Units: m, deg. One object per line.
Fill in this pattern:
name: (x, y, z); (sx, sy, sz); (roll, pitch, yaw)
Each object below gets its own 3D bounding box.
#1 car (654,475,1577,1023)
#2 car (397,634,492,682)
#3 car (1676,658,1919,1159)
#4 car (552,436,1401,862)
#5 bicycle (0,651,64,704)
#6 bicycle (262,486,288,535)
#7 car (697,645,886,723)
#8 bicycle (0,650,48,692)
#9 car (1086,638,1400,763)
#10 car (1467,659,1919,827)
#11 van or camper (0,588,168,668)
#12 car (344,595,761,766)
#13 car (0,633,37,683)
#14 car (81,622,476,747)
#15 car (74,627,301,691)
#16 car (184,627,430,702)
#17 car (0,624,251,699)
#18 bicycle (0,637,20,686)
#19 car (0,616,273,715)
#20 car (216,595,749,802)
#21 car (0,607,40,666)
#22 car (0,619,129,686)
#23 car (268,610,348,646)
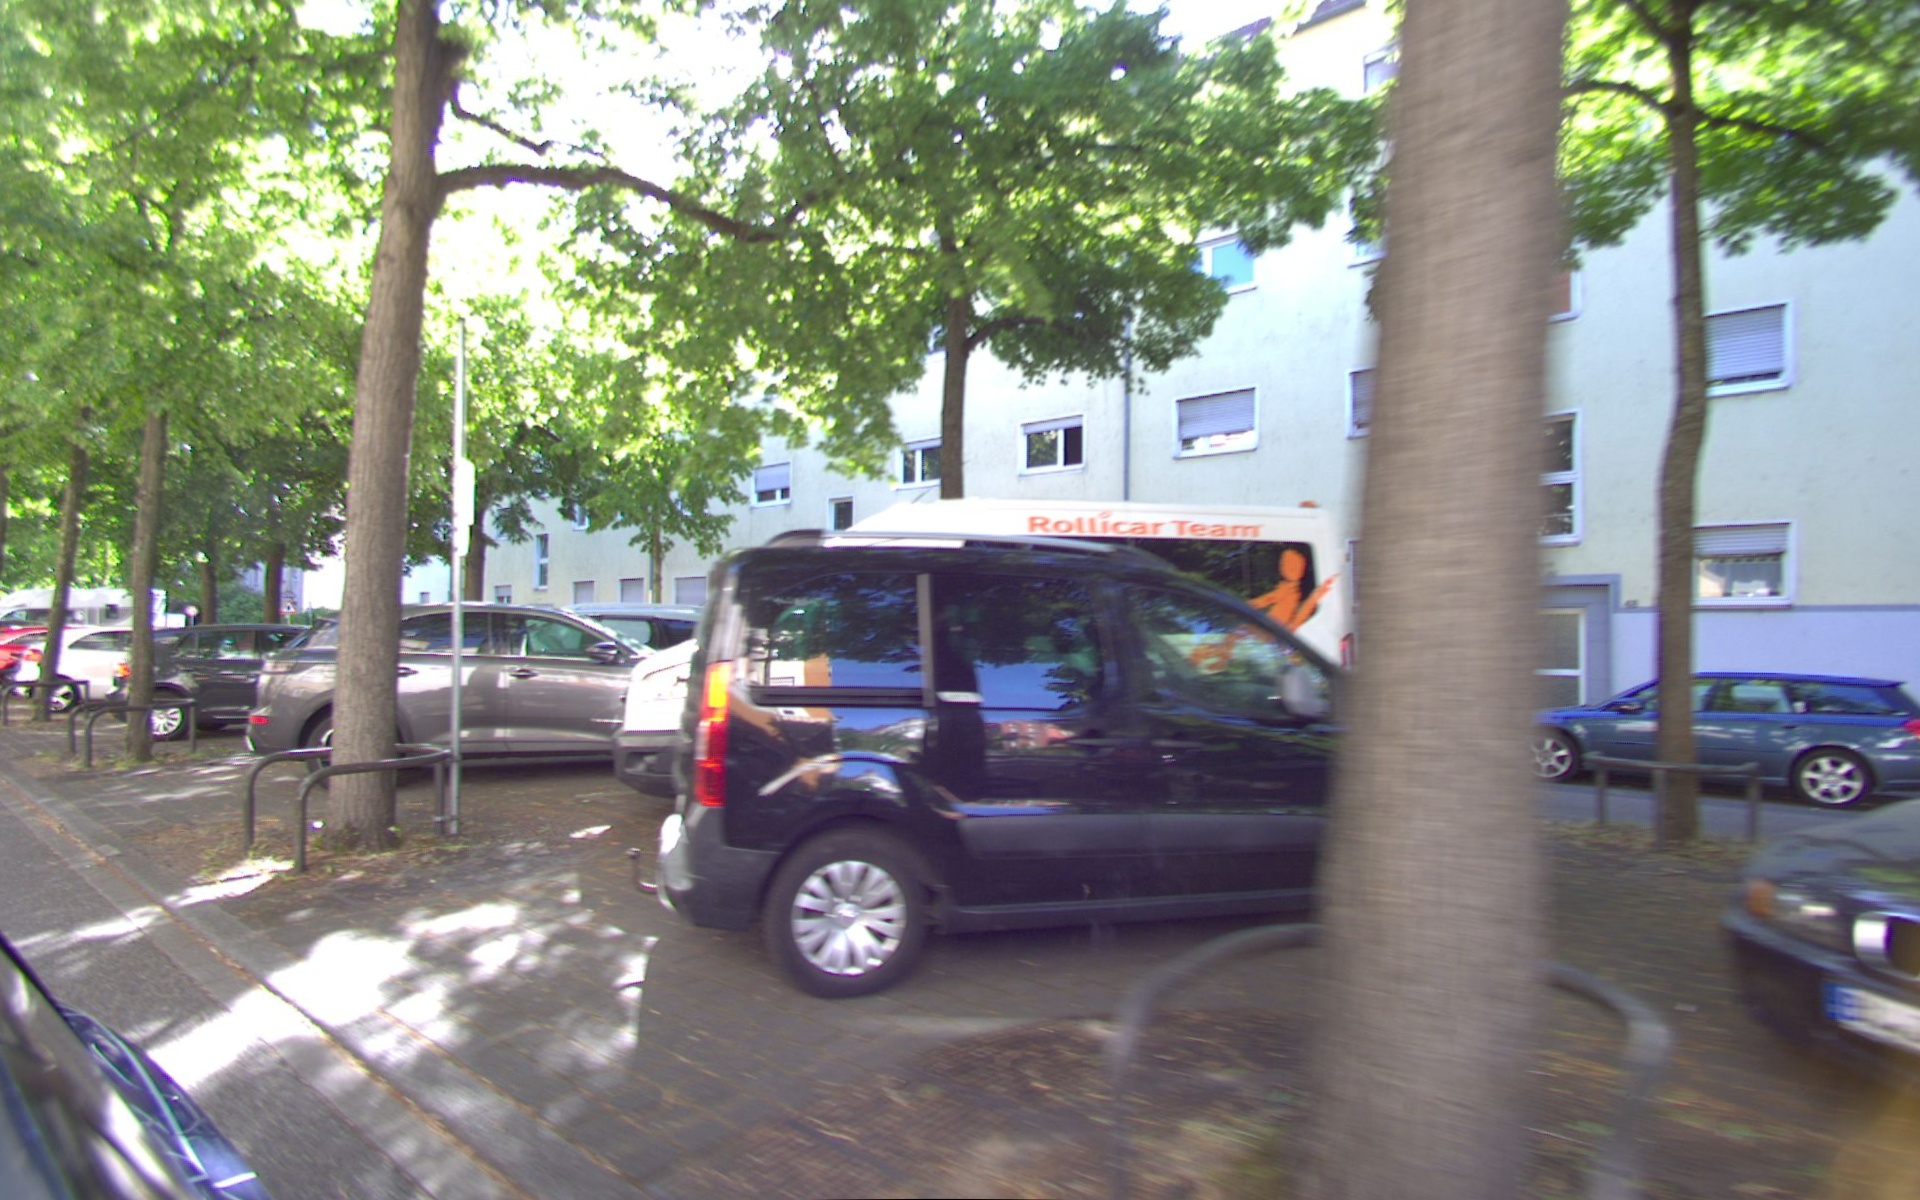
car: (0.577, 0.569, 4.854); (3.787, 1.903, 1.848); (1, -3, -13)
car: (-18.004, 2.011, 35.297); (3.575, 1.588, 1.600); (-2, -5, 39)
car: (4.203, 0.816, 2.987); (3.506, 1.257, 1.663); (0, -2, -19)
car: (0.132, 0.416, 8.168); (5.983, 2.643, 2.461); (2, -2, -13)
bicycle: (-18.545, 1.493, 19.553); (1.786, 1.001, 0.427); (2, -3, -34)
bicycle: (-19.508, -2.521, 28.831); (0.350, 1.209, 1.807); (0, -1, -25)
car: (-3.842, 1.830, 22.760); (4.155, 1.577, 1.874); (-2, -5, 39)
bicycle: (-22.059, 1.618, 23.034); (1.871, 0.926, 0.380); (0, -2, -30)
car: (4.425, 1.504, 16.251); (4.554, 1.736, 1.724); (-2, -4, 39)
car: (8.709, 1.533, 11.921); (4.588, 1.528, 1.754); (-2, -1, 41)
van or camper: (-33.689, 1.017, 37.667); (6.197, 2.846, 2.415); (0, -1, -20)
car: (-4.781, 0.914, 12.303); (4.317, 1.791, 1.905); (2, -2, -22)
car: (-30.157, 1.675, 29.866); (3.953, 1.485, 1.630); (2, -3, -14)
car: (-8.820, 1.062, 13.529); (4.039, 1.492, 1.737); (1, -2, -18)
car: (-18.827, 1.422, 24.911); (4.045, 1.484, 1.877); (1, -2, -21)
car: (-13.433, 1.304, 21.099); (3.932, 1.446, 1.802); (1, -2, -15)
car: (-18.396, 1.294, 21.988); (4.550, 1.497, 1.766); (0, -1, -16)
bicycle: (-23.484, 1.475, 24.027); (1.662, 1.167, 0.380); (0, -2, -30)
car: (-14.531, 1.095, 17.922); (3.630, 1.608, 1.778); (0, -1, -24)
car: (-4.216, 0.805, 9.546); (4.203, 1.654, 1.660); (0, -1, -17)
car: (-44.911, 1.585, 44.476); (6.220, 2.578, 2.345); (1, -1, -17)
car: (-24.613, 1.355, 26.489); (4.018, 1.665, 1.869); (0, -1, -22)
car: (-28.951, 1.276, 44.900); (4.076, 1.447, 1.732); (-2, -5, 39)
